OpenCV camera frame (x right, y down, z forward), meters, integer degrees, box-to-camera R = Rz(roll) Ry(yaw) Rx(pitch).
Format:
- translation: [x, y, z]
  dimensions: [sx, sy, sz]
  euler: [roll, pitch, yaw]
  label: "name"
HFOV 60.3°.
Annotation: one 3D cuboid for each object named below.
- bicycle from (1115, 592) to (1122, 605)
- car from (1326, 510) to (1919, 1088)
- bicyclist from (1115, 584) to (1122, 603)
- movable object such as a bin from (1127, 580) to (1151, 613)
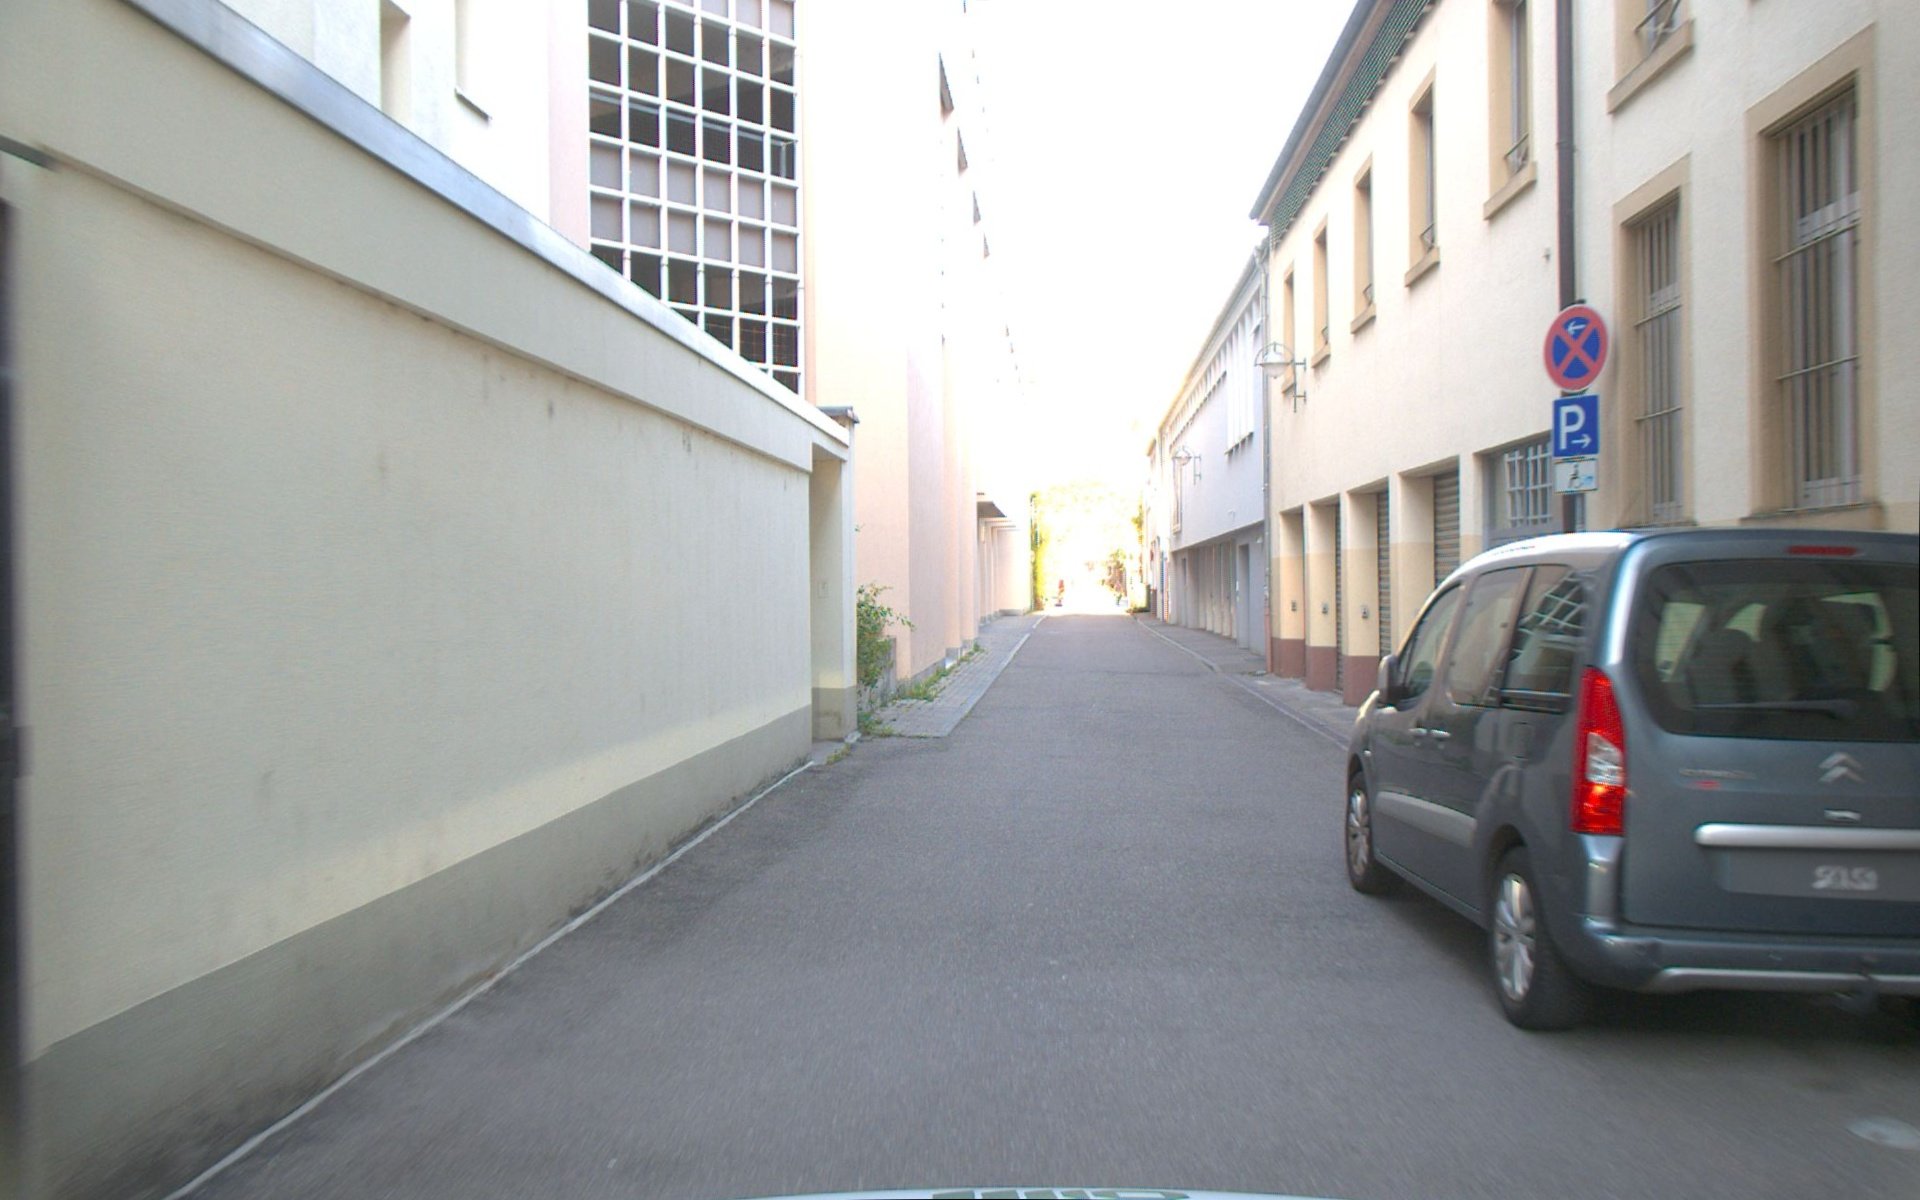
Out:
- translation: [11.384, -0.116, 118.971]
  dimensions: [0.433, 0.931, 1.517]
  euler: [0, 0, 7]
  label: "bicycle"
- translation: [2.931, 0.607, 7.235]
  dimensions: [1.817, 1.786, 4.163]
  euler: [-1, 0, 1]
  label: "car"
- translation: [11.398, -0.467, 118.941]
  dimensions: [0.501, 1.346, 0.559]
  euler: [0, 0, 6]
  label: "bicyclist"
- translation: [8.594, -0.173, 79.433]
  dimensions: [1.083, 1.461, 1.415]
  euler: [-2, 2, 4]
  label: "movable object such as a bin"
